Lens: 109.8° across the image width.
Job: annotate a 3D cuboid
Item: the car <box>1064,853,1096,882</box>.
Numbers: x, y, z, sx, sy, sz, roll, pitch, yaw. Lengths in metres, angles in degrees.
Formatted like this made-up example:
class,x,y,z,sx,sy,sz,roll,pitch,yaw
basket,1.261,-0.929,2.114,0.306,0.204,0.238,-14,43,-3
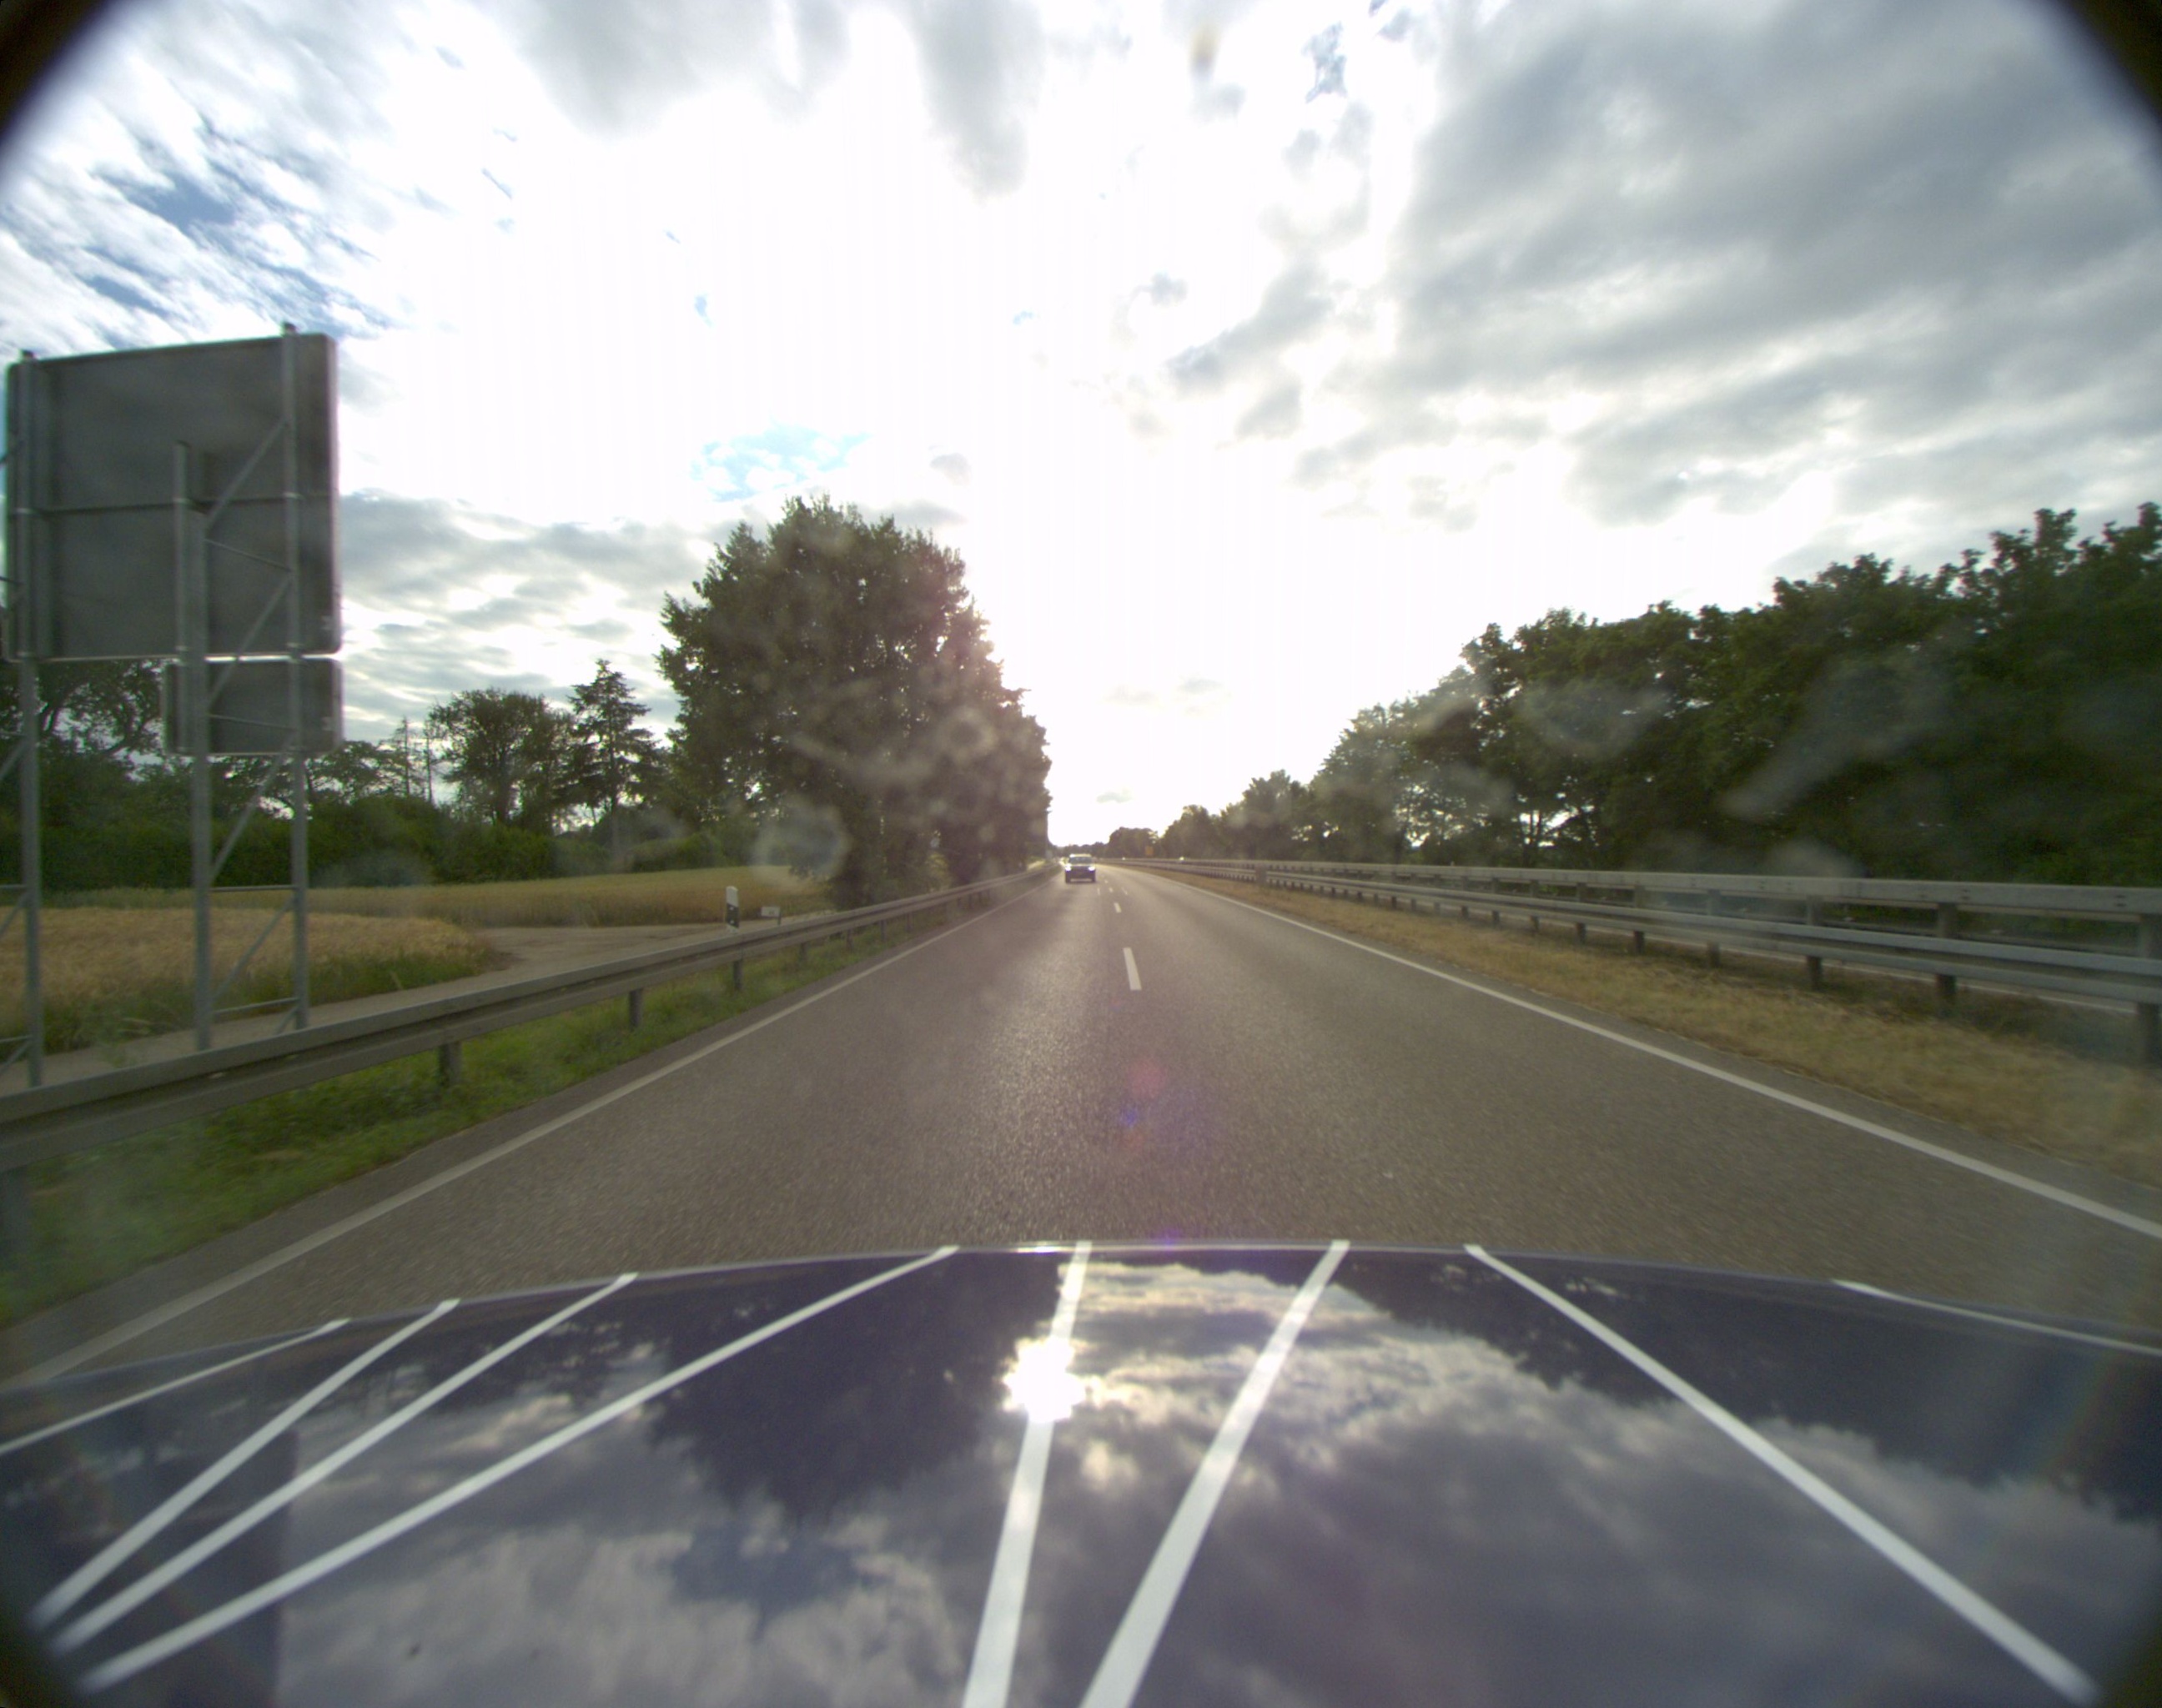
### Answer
class,x,y,z,sx,sy,sz,roll,pitch,yaw
car,-0.021,0.773,46.764,1.863,1.636,4.000,-1,0,1

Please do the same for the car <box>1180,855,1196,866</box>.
class,x,y,z,sx,sy,sz,roll,pitch,yaw
car,16.158,0.968,114.655,1.829,1.535,4.587,1,0,1
